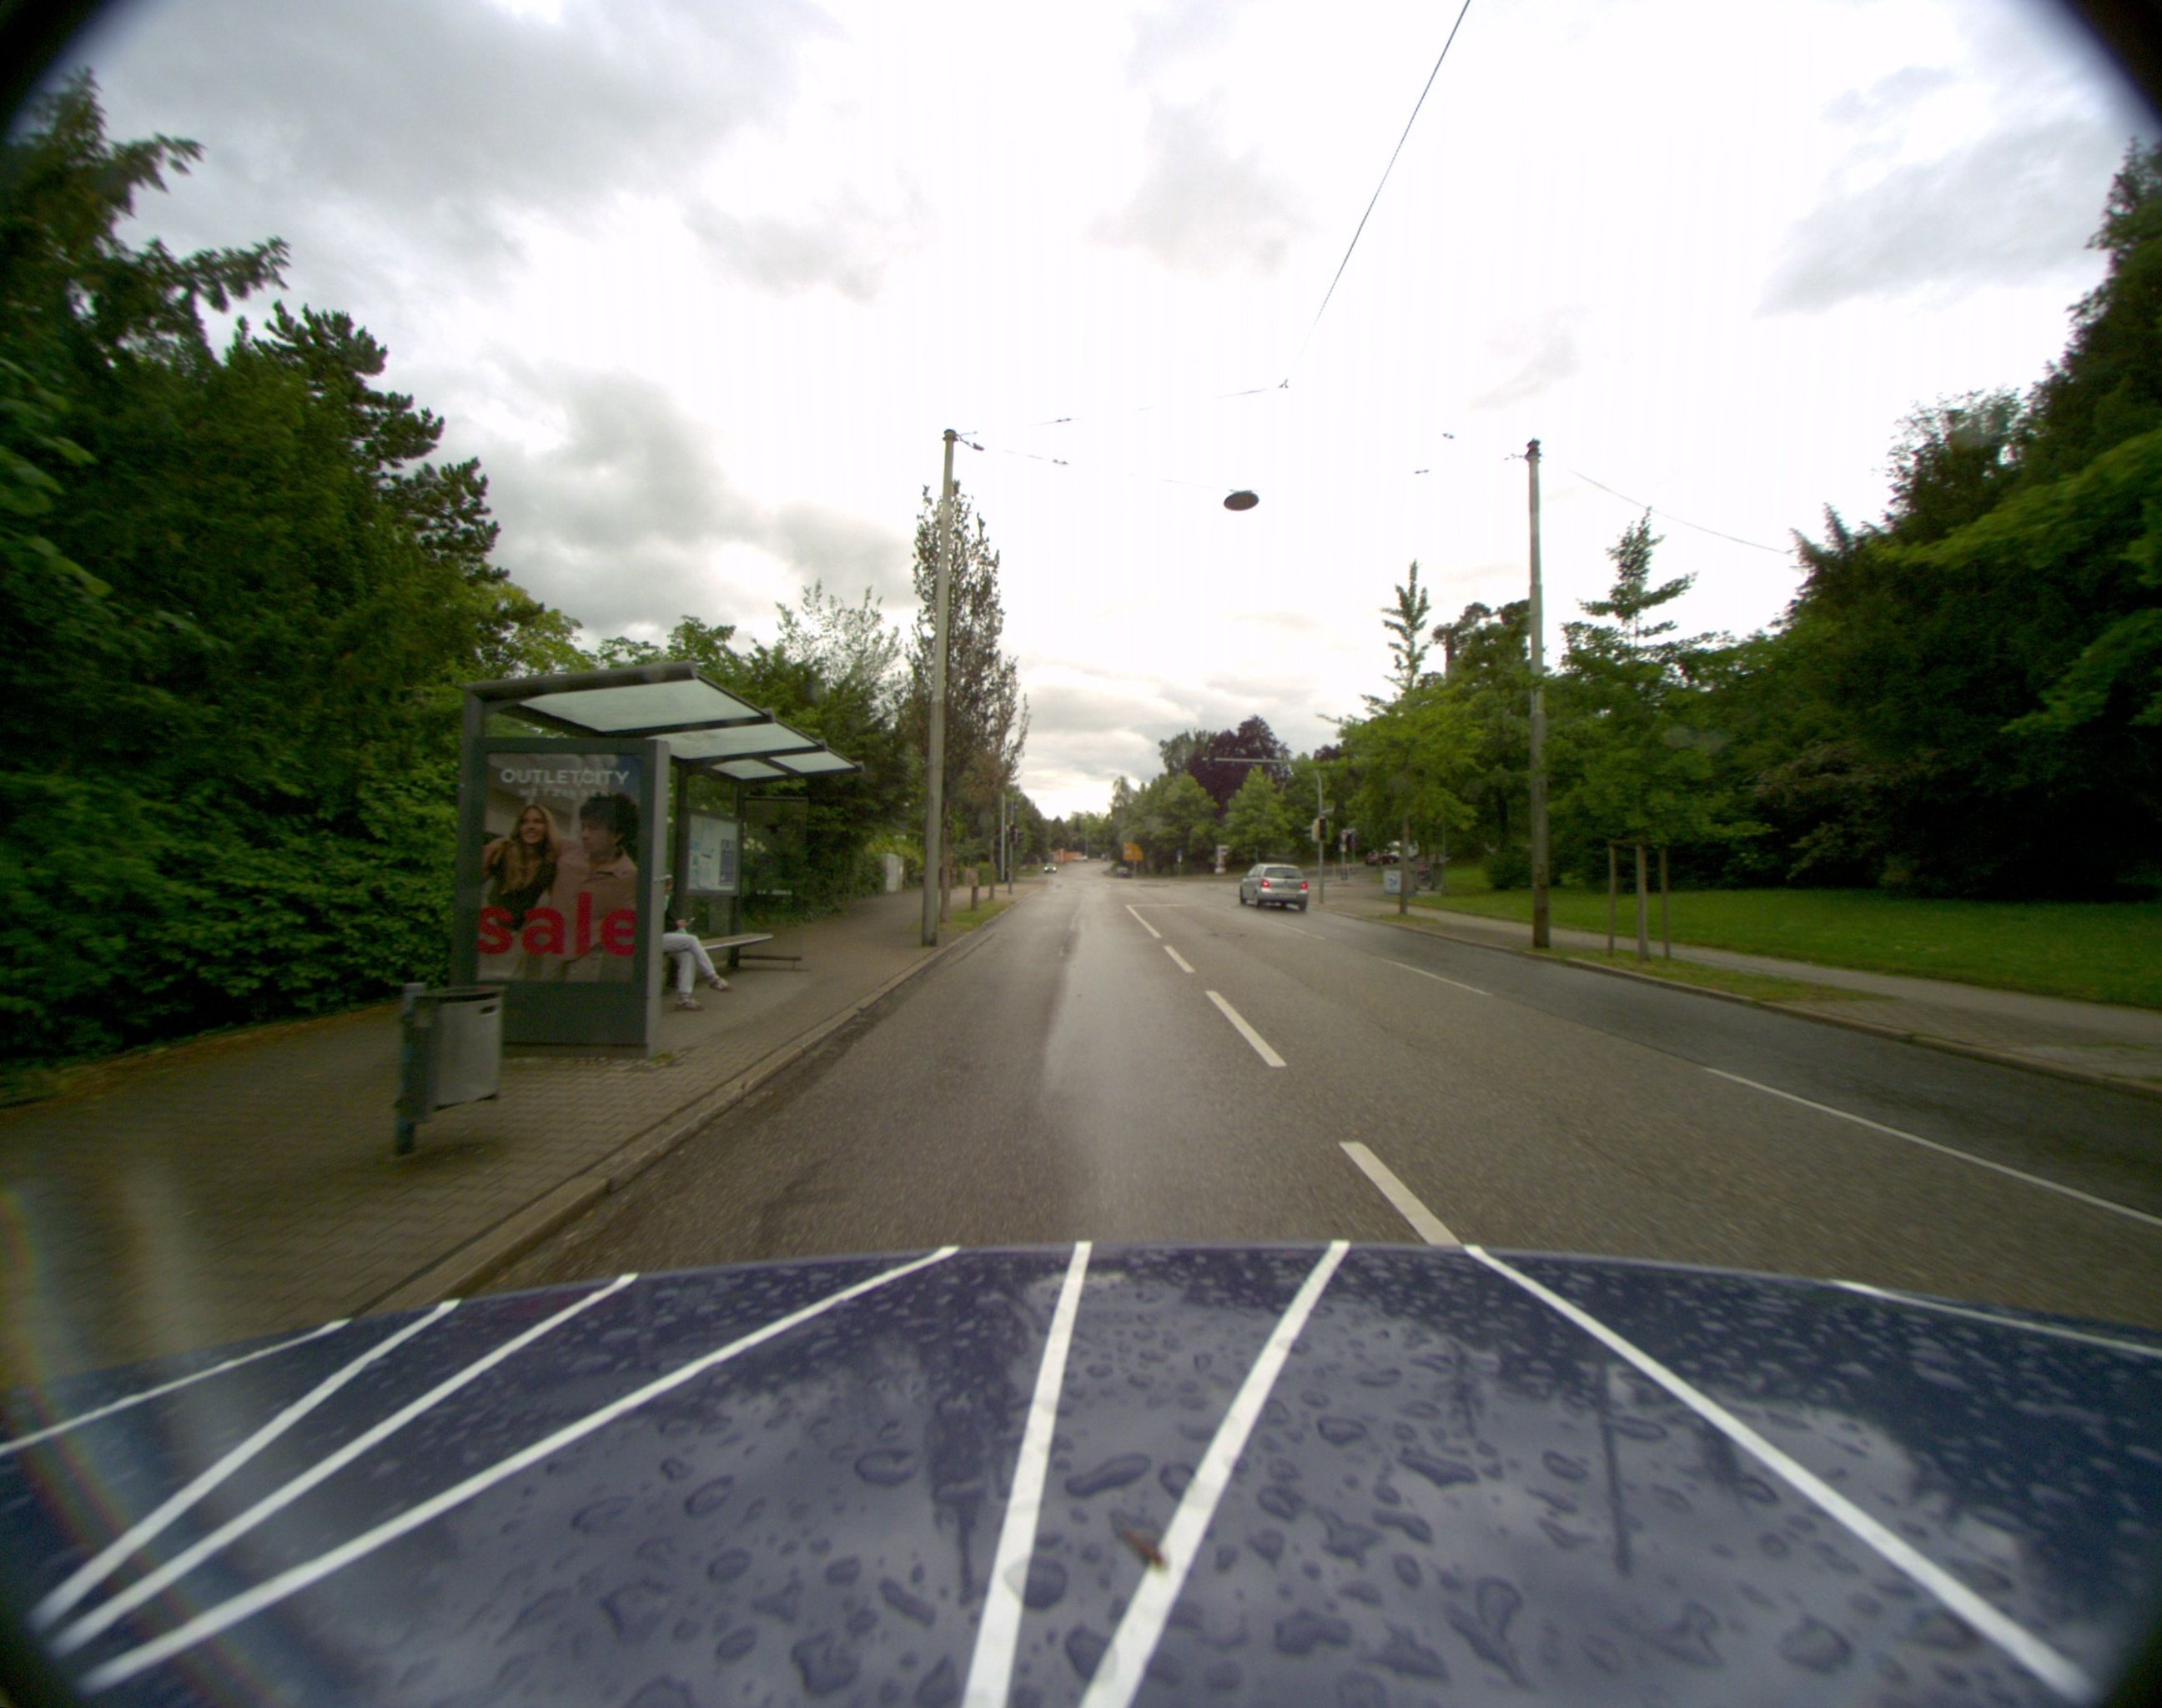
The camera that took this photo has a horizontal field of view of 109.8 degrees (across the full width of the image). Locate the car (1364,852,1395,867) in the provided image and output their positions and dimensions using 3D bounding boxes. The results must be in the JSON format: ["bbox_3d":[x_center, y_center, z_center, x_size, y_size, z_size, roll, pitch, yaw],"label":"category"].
[{"bbox_3d":[34.393,0.663,87.497,1.972,1.658,4.008,-2,-1,44],"label":"car"}]

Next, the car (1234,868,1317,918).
[{"bbox_3d":[6.464,1.251,25.655,1.726,1.391,4.000,3,0,1],"label":"car"}]

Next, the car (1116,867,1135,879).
[{"bbox_3d":[5.145,2.234,87.352,1.665,1.298,4.083,2,-2,-3],"label":"car"}]

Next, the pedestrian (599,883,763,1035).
[{"bbox_3d":[-3.921,0.987,7.524,1.075,1.347,0.919,1,0,7],"label":"pedestrian"}]

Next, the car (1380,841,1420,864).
[{"bbox_3d":[38.320,-0.204,91.172,5.682,2.683,2.151,-1,0,-42],"label":"car"}]

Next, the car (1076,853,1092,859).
[{"bbox_3d":[0.857,0.593,203.767,3.864,1.557,1.728,3,1,8],"label":"car"}]

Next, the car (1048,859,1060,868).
[{"bbox_3d":[-4.601,1.660,129.094,1.862,1.406,4.385,1,-1,-3],"label":"car"}]

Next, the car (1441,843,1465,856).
[{"bbox_3d":[49.288,-0.651,100.651,1.822,1.658,4.008,-2,-1,43],"label":"car"}]
